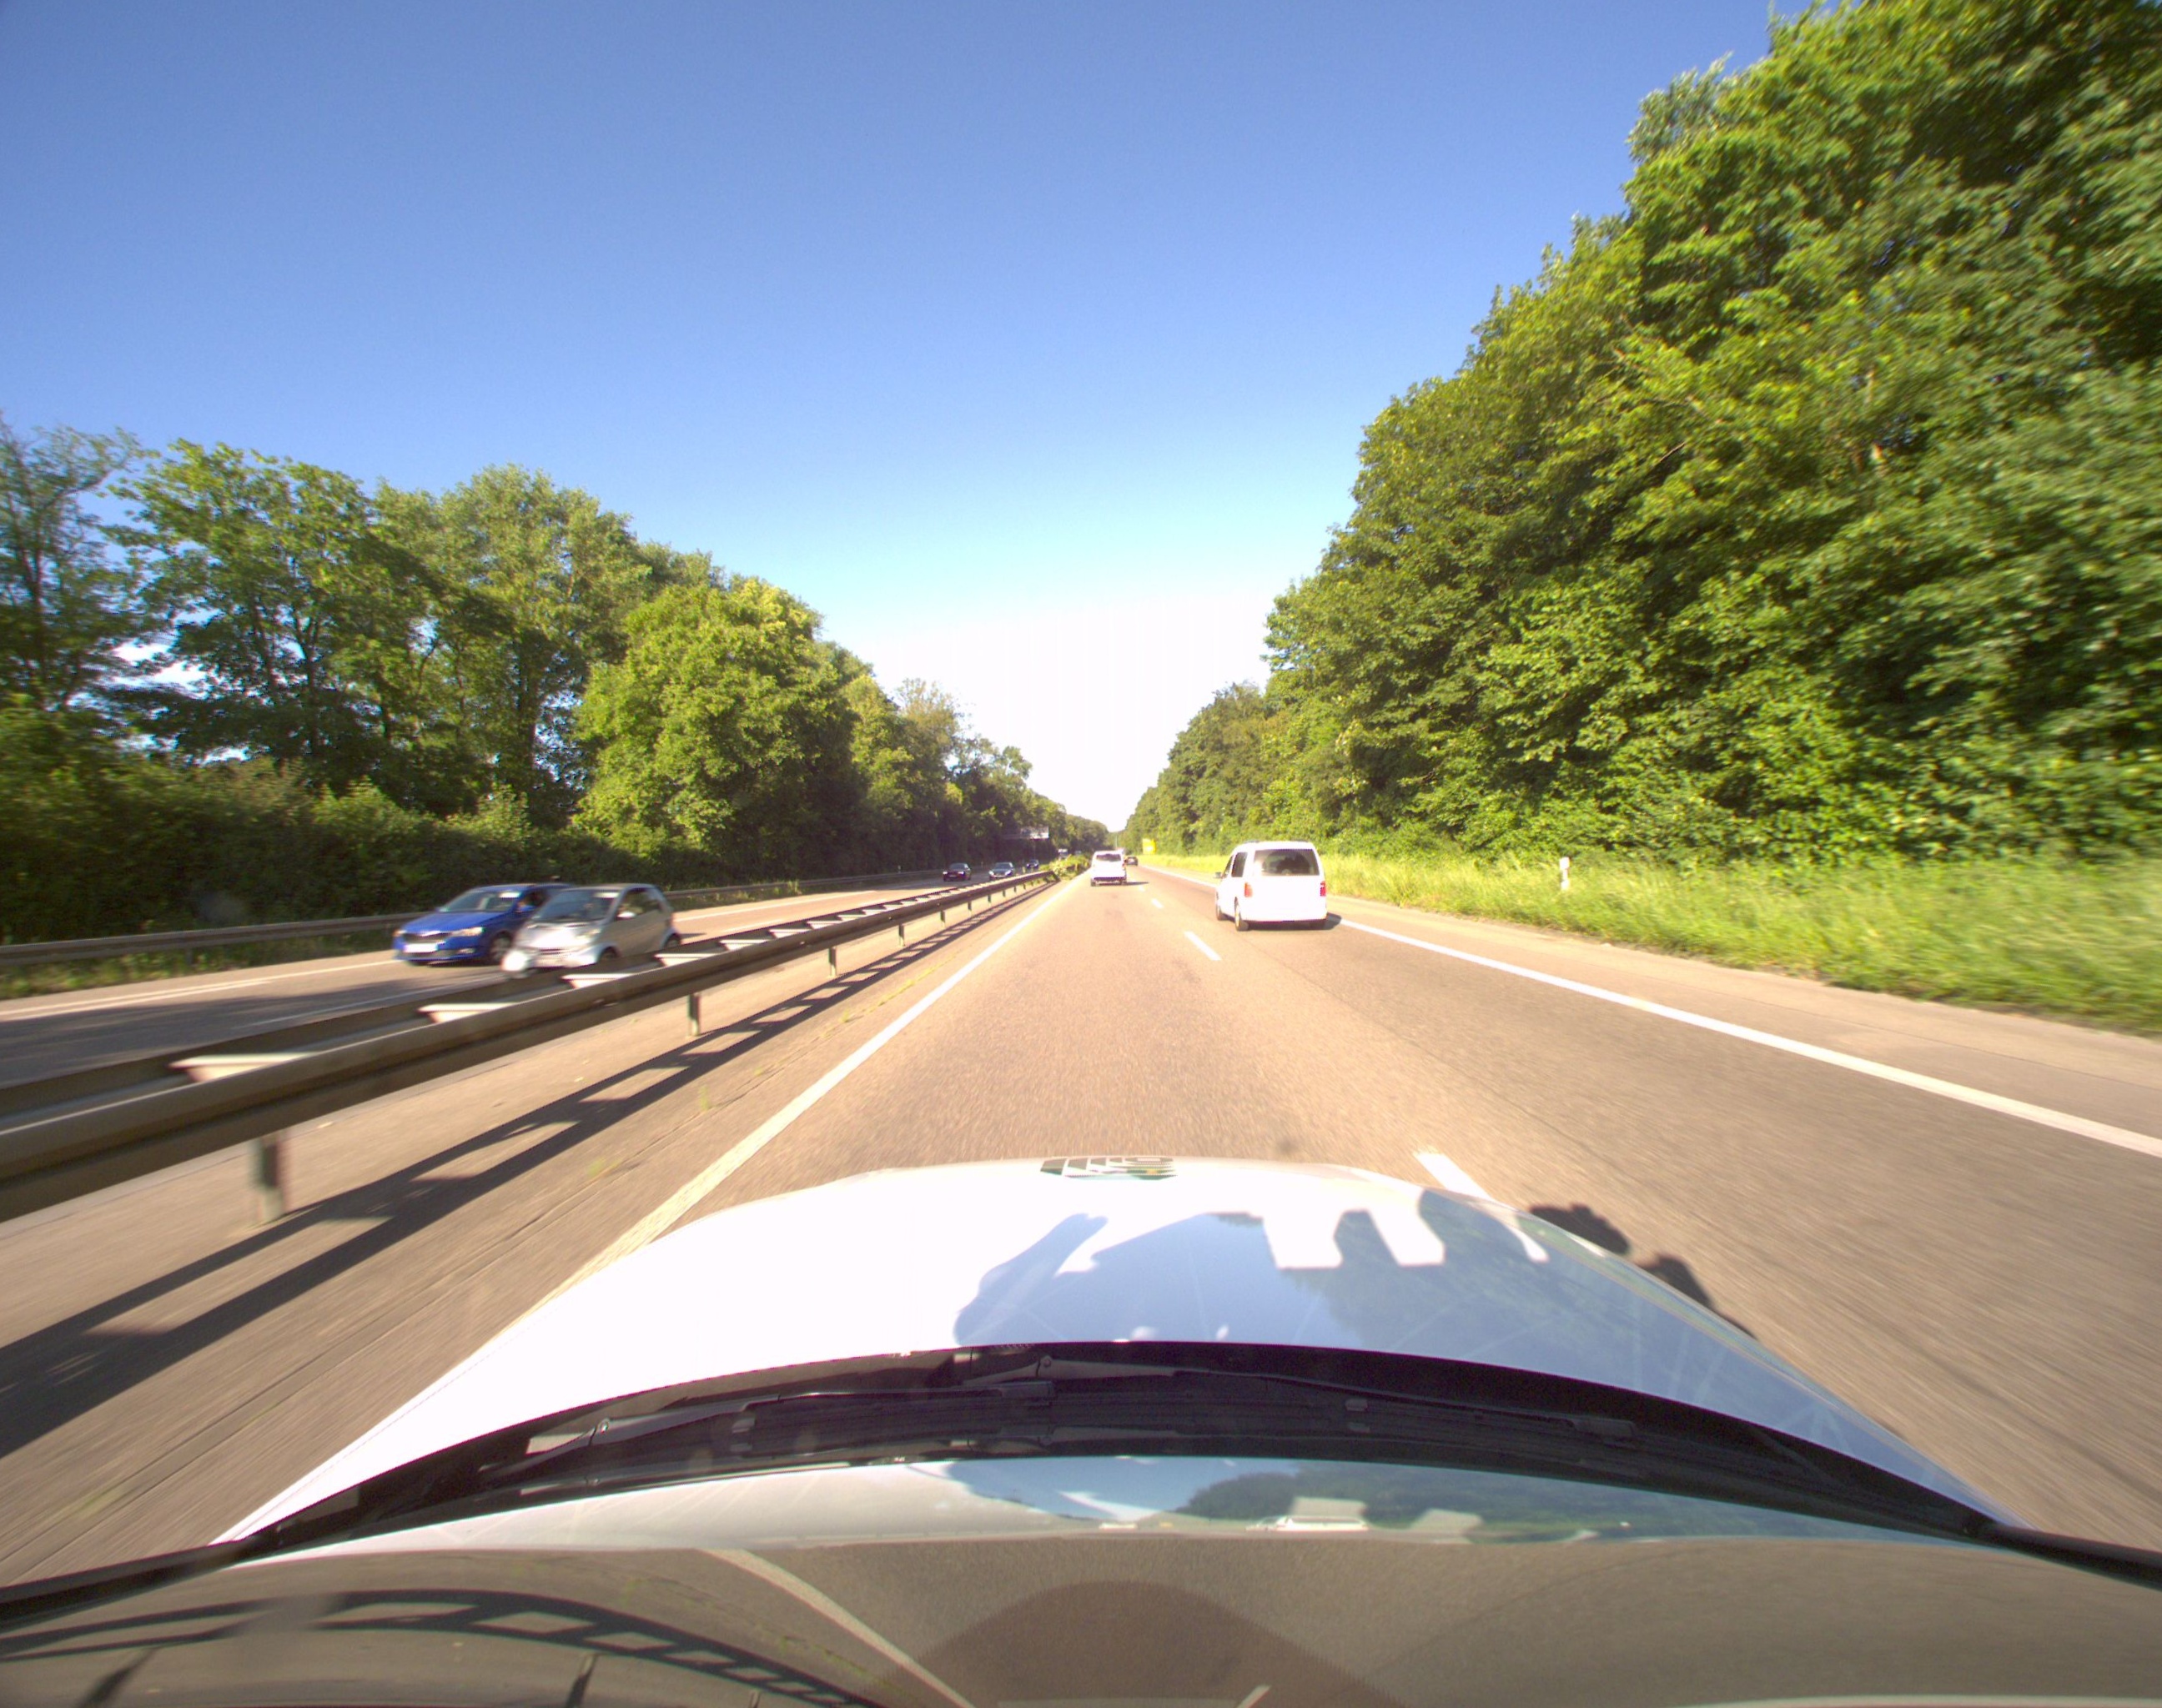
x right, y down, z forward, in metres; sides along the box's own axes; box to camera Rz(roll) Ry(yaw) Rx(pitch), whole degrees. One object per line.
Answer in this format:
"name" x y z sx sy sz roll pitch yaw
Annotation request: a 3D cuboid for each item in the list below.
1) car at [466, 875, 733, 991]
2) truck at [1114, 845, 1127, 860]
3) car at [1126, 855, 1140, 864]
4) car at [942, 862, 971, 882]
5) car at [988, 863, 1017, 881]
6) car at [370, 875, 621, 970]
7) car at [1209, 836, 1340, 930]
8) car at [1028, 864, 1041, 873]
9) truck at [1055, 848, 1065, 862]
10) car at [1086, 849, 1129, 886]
"car" -8.069 1.217 14.253 1.870 1.540 4.466 -2 0 1
"truck" 11.476 -0.341 236.089 3.483 4.172 8.865 -2 0 2
"car" 7.819 0.845 122.909 1.986 1.398 4.001 -1 0 1
"car" -10.335 1.472 67.862 1.712 1.445 4.229 -2 0 1
"car" -6.389 1.419 66.467 1.828 1.357 4.476 -1 0 1
"car" -11.662 1.281 16.699 1.829 1.540 4.432 -1 0 1
"car" 4.031 0.551 17.727 1.857 1.770 4.471 -1 0 1
"car" -7.329 2.246 128.673 1.711 1.357 3.948 -1 -1 3
"truck" -5.868 0.203 228.443 2.752 3.712 7.855 -2 0 0
"car" 1.339 0.669 42.765 2.079 1.828 3.999 -1 0 0
